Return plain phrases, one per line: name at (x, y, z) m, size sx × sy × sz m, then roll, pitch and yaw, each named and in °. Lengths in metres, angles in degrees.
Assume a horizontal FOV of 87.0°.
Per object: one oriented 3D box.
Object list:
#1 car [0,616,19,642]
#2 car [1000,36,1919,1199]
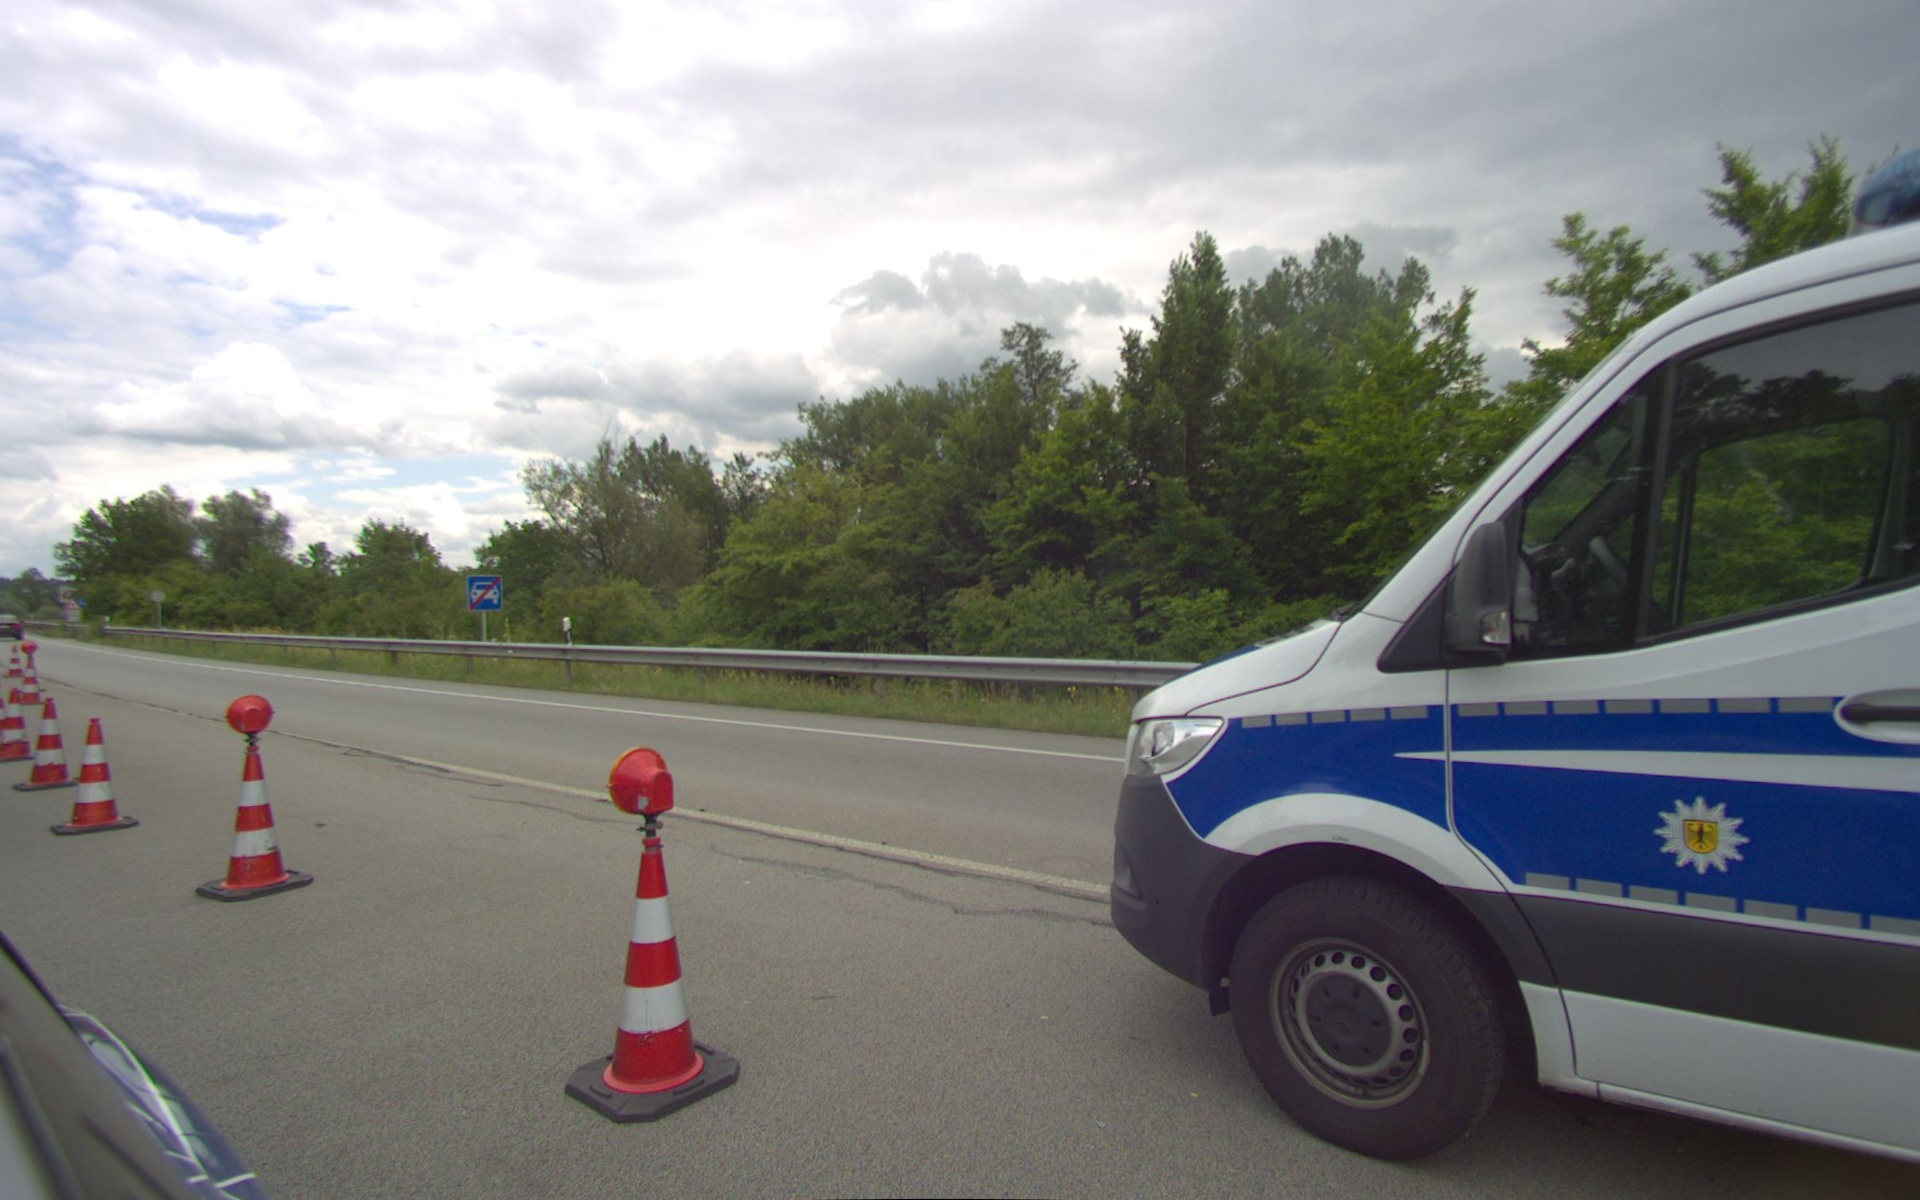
car at (-54.428, 1.622, 57.148) m, size 4.338 × 1.447 × 1.690 m, roll -1°, pitch -1°, yaw 44°
car at (2.820, 0.161, 2.417) m, size 5.272 × 2.482 × 2.010 m, roll -1°, pitch -1°, yaw 38°
